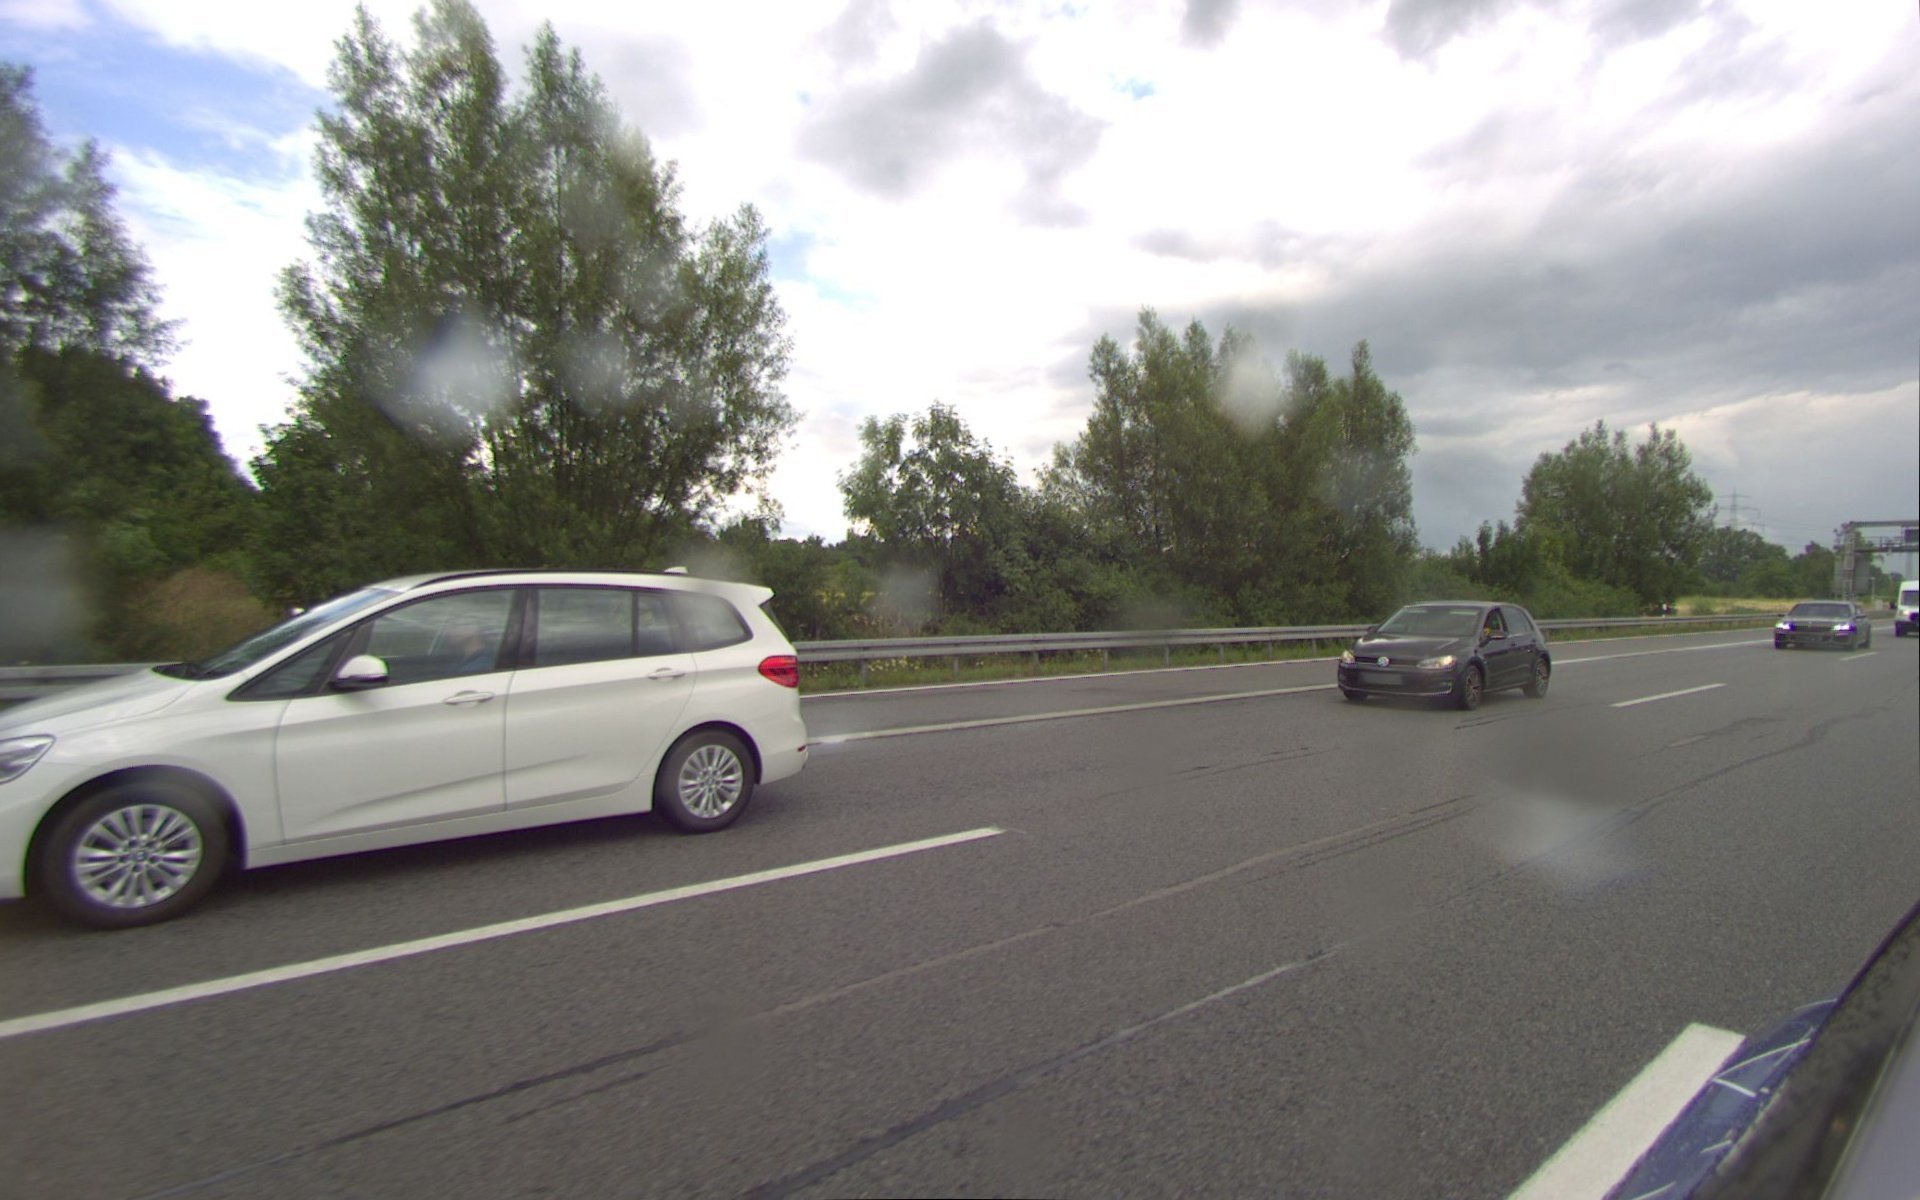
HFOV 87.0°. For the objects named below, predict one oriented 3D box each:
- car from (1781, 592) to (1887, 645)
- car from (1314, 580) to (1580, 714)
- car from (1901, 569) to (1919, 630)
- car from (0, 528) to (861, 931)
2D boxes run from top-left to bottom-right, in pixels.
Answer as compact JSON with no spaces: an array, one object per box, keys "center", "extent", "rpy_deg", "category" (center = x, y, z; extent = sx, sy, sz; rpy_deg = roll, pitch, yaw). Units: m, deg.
[{"center":[27.166,0.528,31.408],"extent":[4.693,1.510,1.942],"rpy_deg":[0,1,-42],"category":"car"},{"center":[7.084,0.561,14.534],"extent":[4.376,1.651,1.711],"rpy_deg":[0,1,-39],"category":"car"},{"center":[42.004,-0.024,43.212],"extent":[5.353,2.532,2.143],"rpy_deg":[0,1,-41],"category":"car"},{"center":[-2.995,0.503,6.025],"extent":[4.614,1.619,1.813],"rpy_deg":[0,1,-41],"category":"car"}]
